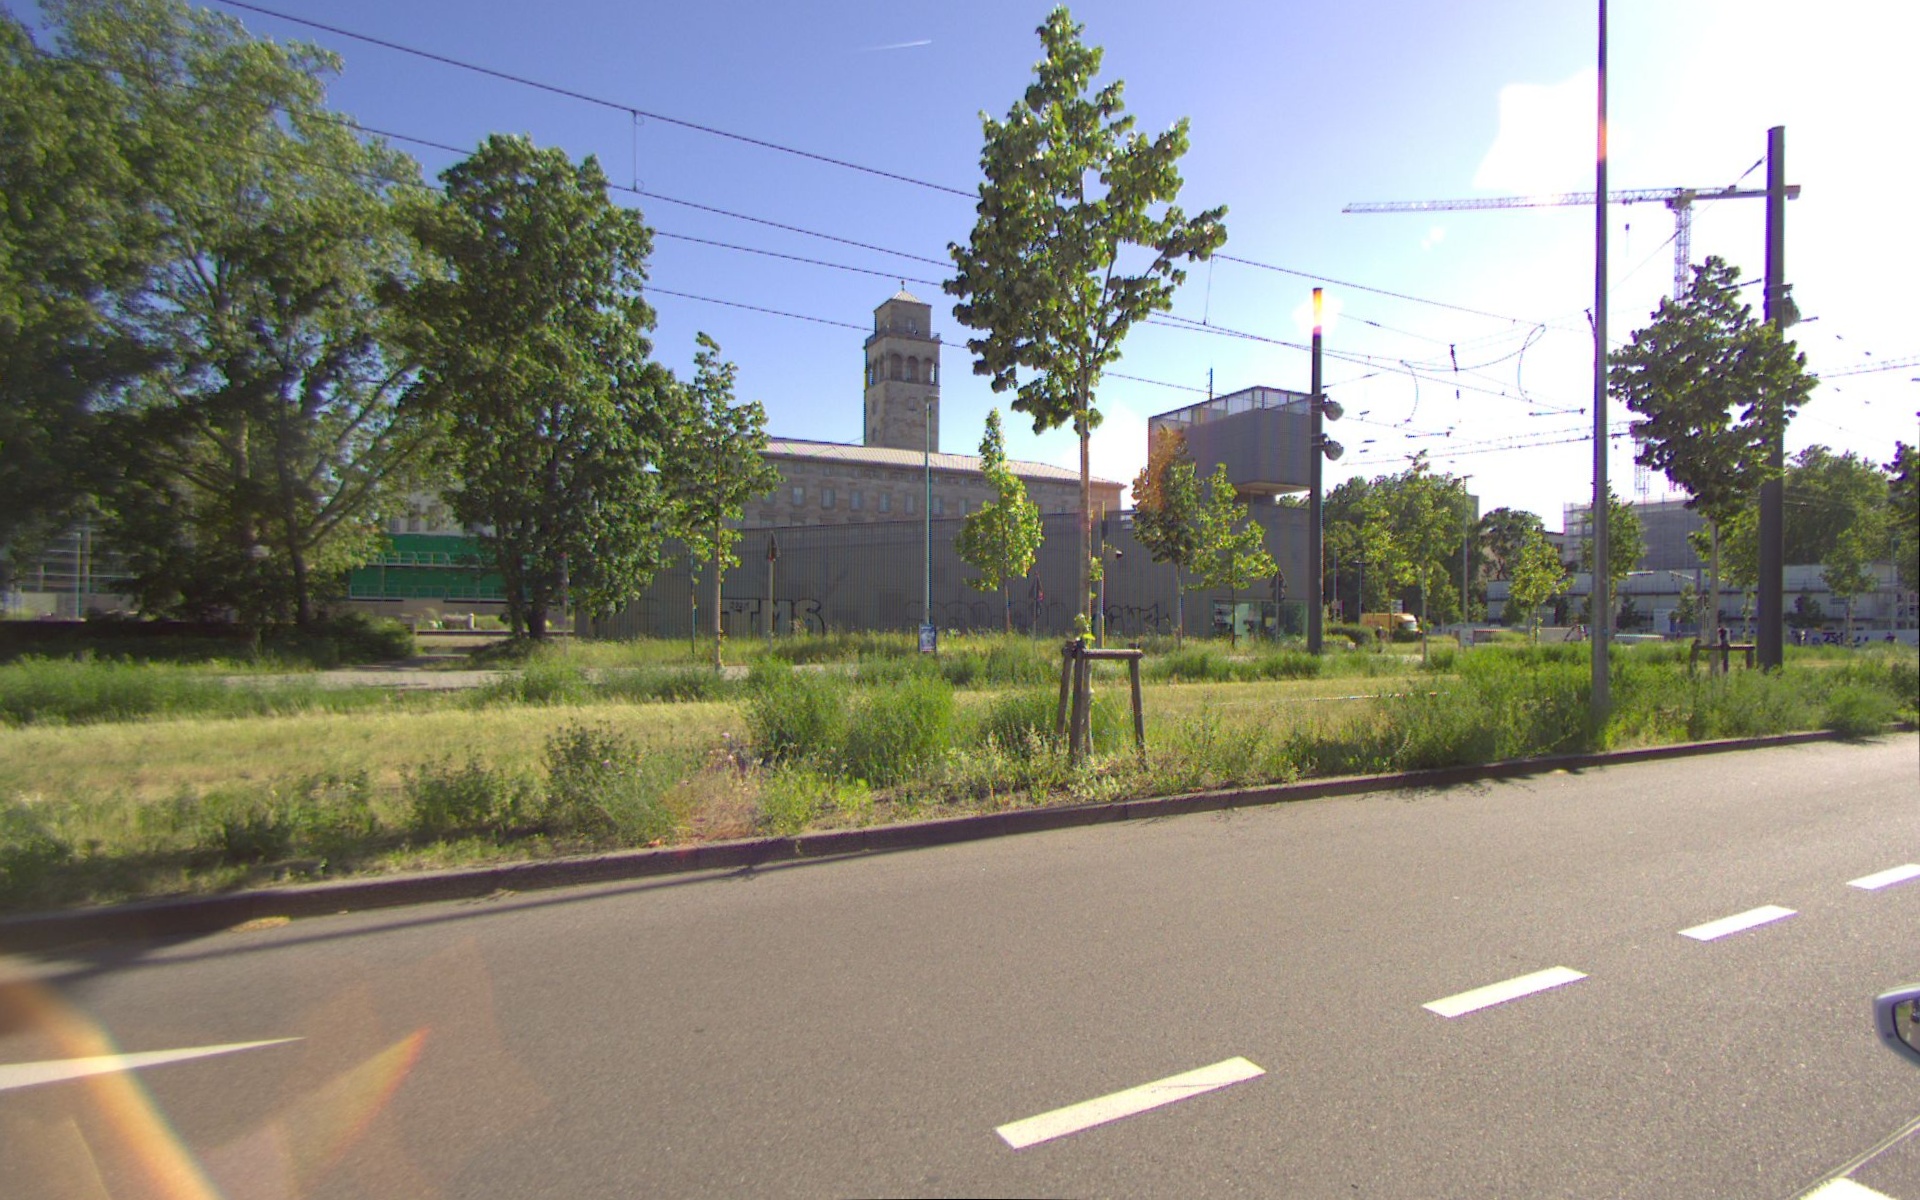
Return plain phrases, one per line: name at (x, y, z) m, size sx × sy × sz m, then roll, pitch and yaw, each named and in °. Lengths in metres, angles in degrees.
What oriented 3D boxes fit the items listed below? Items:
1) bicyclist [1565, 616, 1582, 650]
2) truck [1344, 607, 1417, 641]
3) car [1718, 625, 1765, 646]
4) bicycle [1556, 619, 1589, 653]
bicyclist at (26.843, 1.455, 43.953) m, size 0.533 × 1.474 × 0.392 m, roll 1°, pitch 1°, yaw -31°
truck at (42.255, 2.408, 101.060) m, size 1.977 × 3.002 × 6.930 m, roll 2°, pitch 1°, yaw -30°
car at (65.950, 3.026, 84.792) m, size 3.952 × 1.577 × 1.703 m, roll 2°, pitch 1°, yaw -30°
bicycle at (26.773, 1.574, 43.918) m, size 1.890 × 1.475 × 0.358 m, roll 1°, pitch 0°, yaw -30°
